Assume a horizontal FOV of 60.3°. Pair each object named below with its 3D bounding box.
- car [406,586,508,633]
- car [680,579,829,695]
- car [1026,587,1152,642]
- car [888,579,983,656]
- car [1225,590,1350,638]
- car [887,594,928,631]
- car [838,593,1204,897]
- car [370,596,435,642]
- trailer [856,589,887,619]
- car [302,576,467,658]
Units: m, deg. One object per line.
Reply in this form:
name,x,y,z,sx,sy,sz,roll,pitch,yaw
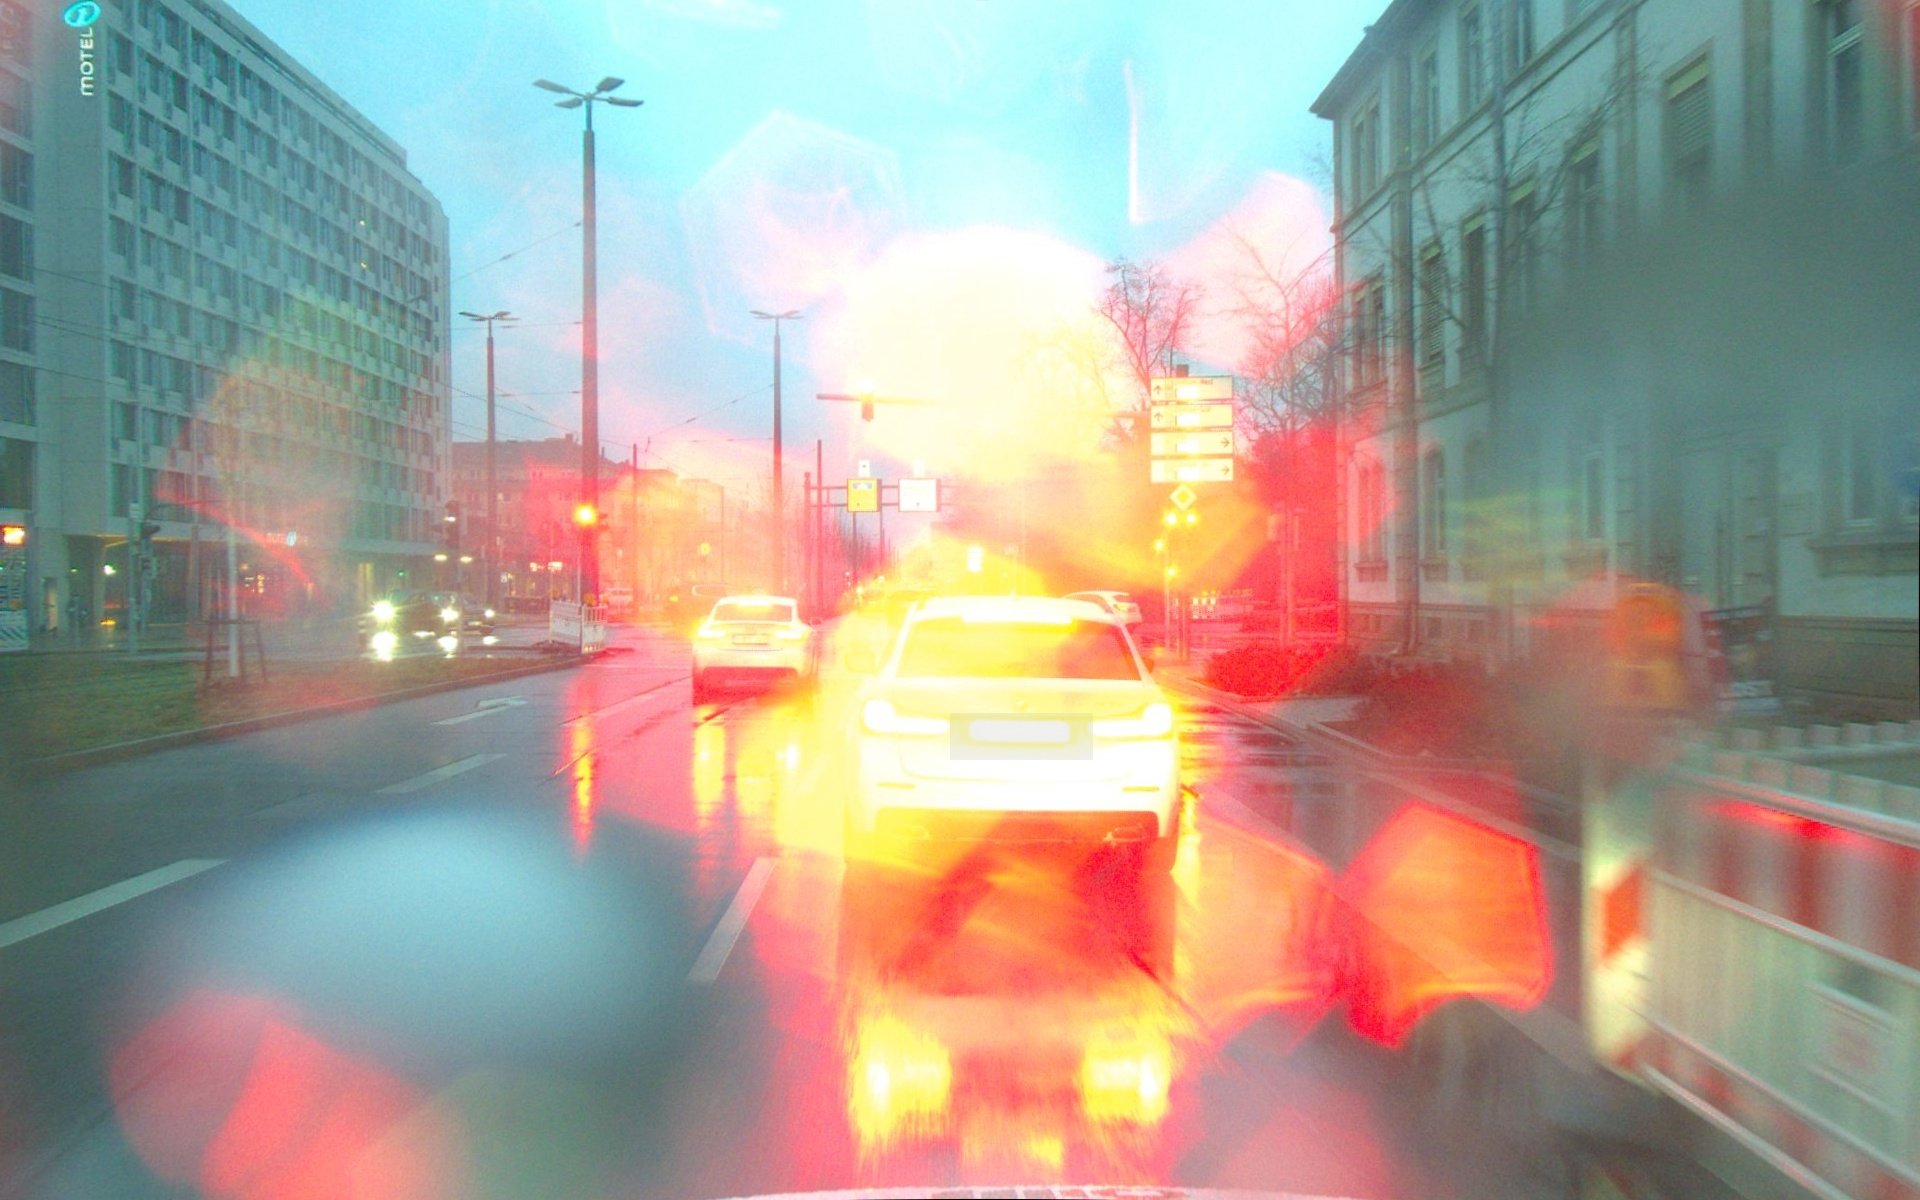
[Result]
car,-16.632,0.289,54.643,3.480,1.518,1.734,0,0,43
car,-3.108,0.518,25.704,1.862,1.670,3.999,0,0,-1
car,4.385,0.469,56.259,3.909,1.829,1.849,0,0,27
car,-0.466,0.338,34.972,1.803,1.546,4.001,0,0,2
car,11.244,0.455,56.837,3.908,1.588,1.850,0,0,25
car,-2.449,0.574,77.576,1.862,1.670,3.999,0,0,-1
car,0.241,0.704,10.657,1.814,1.491,4.945,0,0,-2
car,-21.097,0.679,62.739,1.824,1.668,4.021,0,0,-11
trailer,-5.104,0.217,95.321,1.797,1.672,3.997,0,0,-3
car,-14.745,0.416,42.483,3.928,2.009,1.989,0,0,-20
